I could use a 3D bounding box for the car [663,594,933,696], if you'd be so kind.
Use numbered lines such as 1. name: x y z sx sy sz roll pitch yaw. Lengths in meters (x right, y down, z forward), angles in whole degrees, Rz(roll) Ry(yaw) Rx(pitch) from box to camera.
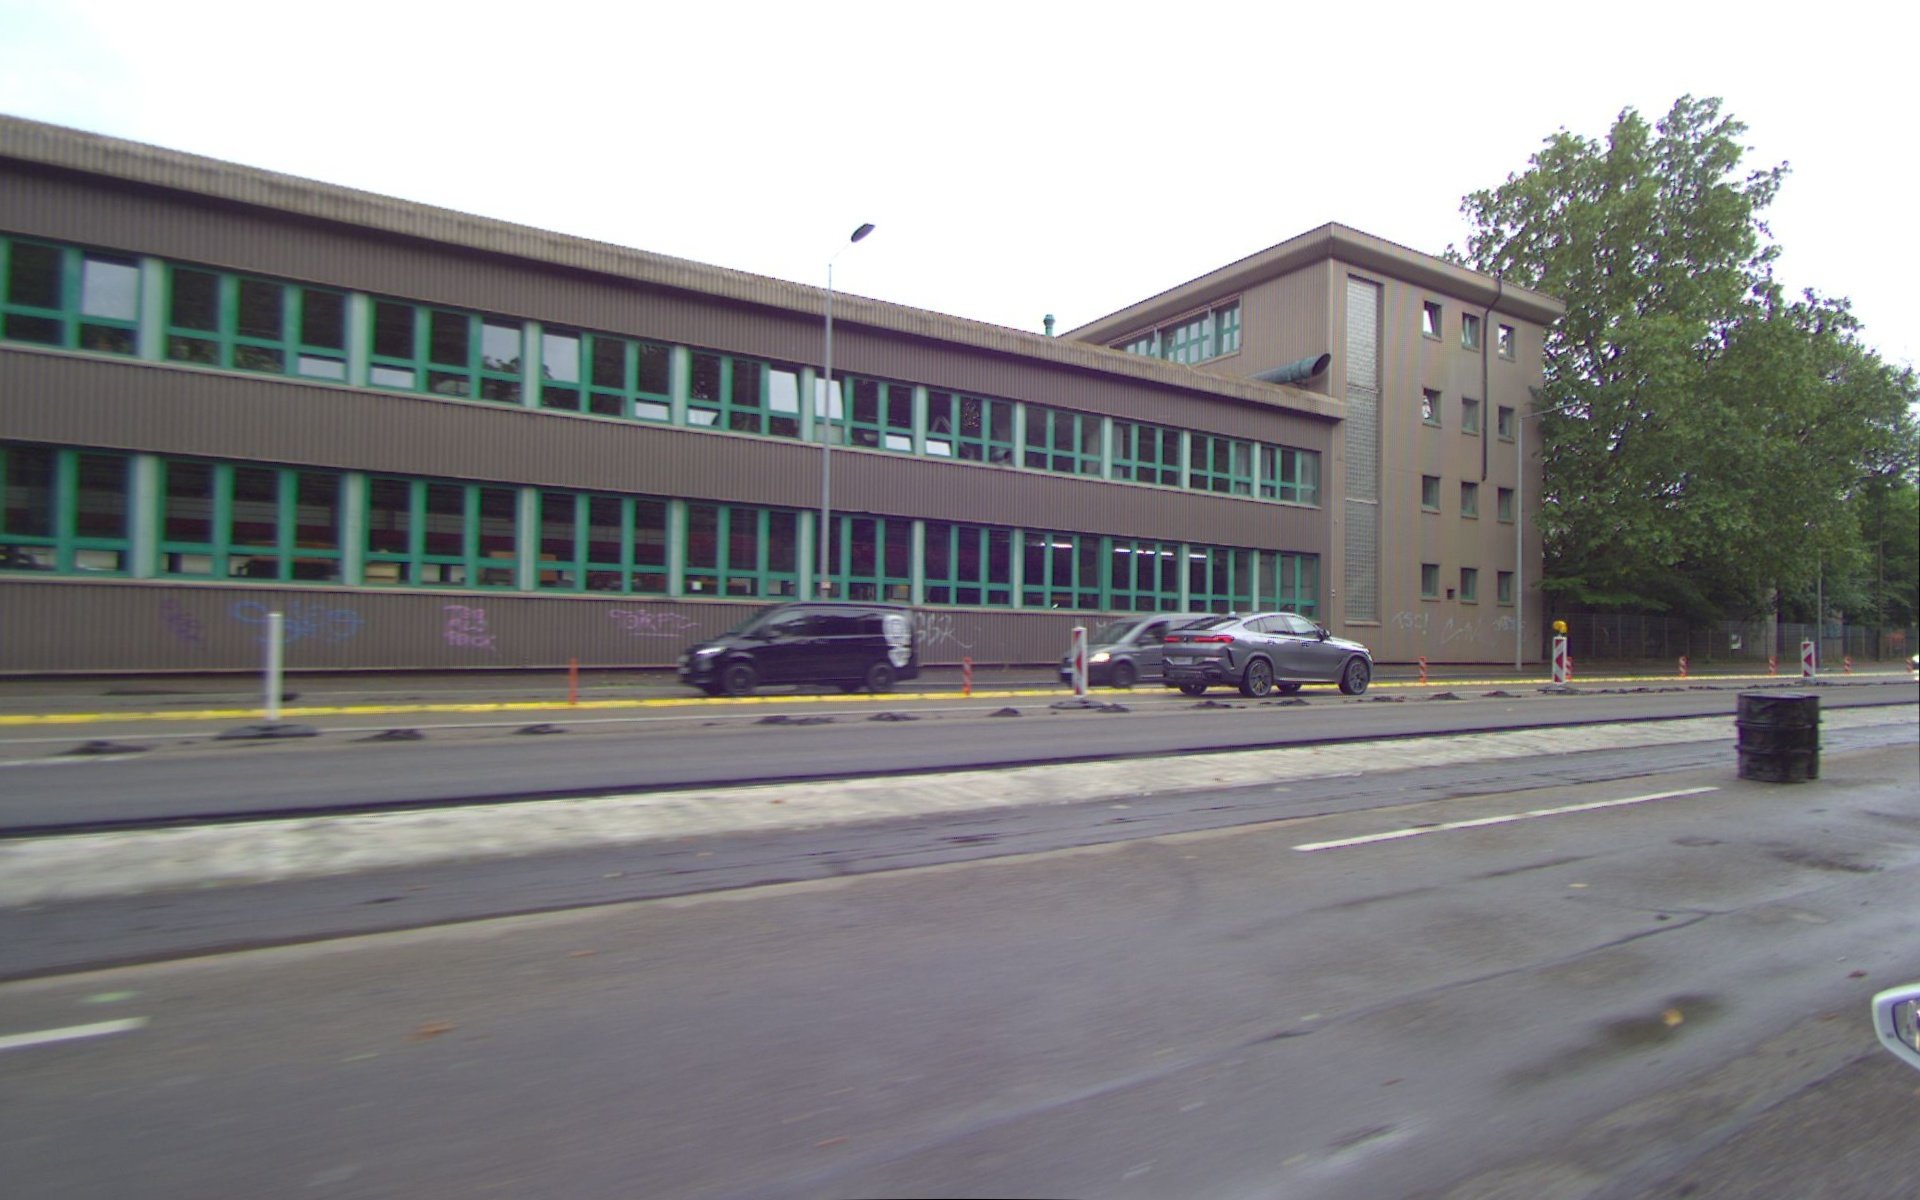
1. car: -3.373 0.963 21.423 5.306 1.944 1.982 3 -1 -33

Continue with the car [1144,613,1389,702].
1. car: 6.383 1.180 20.762 5.001 1.634 2.065 3 -1 -32

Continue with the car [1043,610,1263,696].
1. car: 4.544 1.243 23.458 4.895 1.804 1.985 3 -1 -29

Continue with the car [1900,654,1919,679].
1. car: 56.869 3.917 58.449 4.737 1.366 1.983 3 -1 -31
